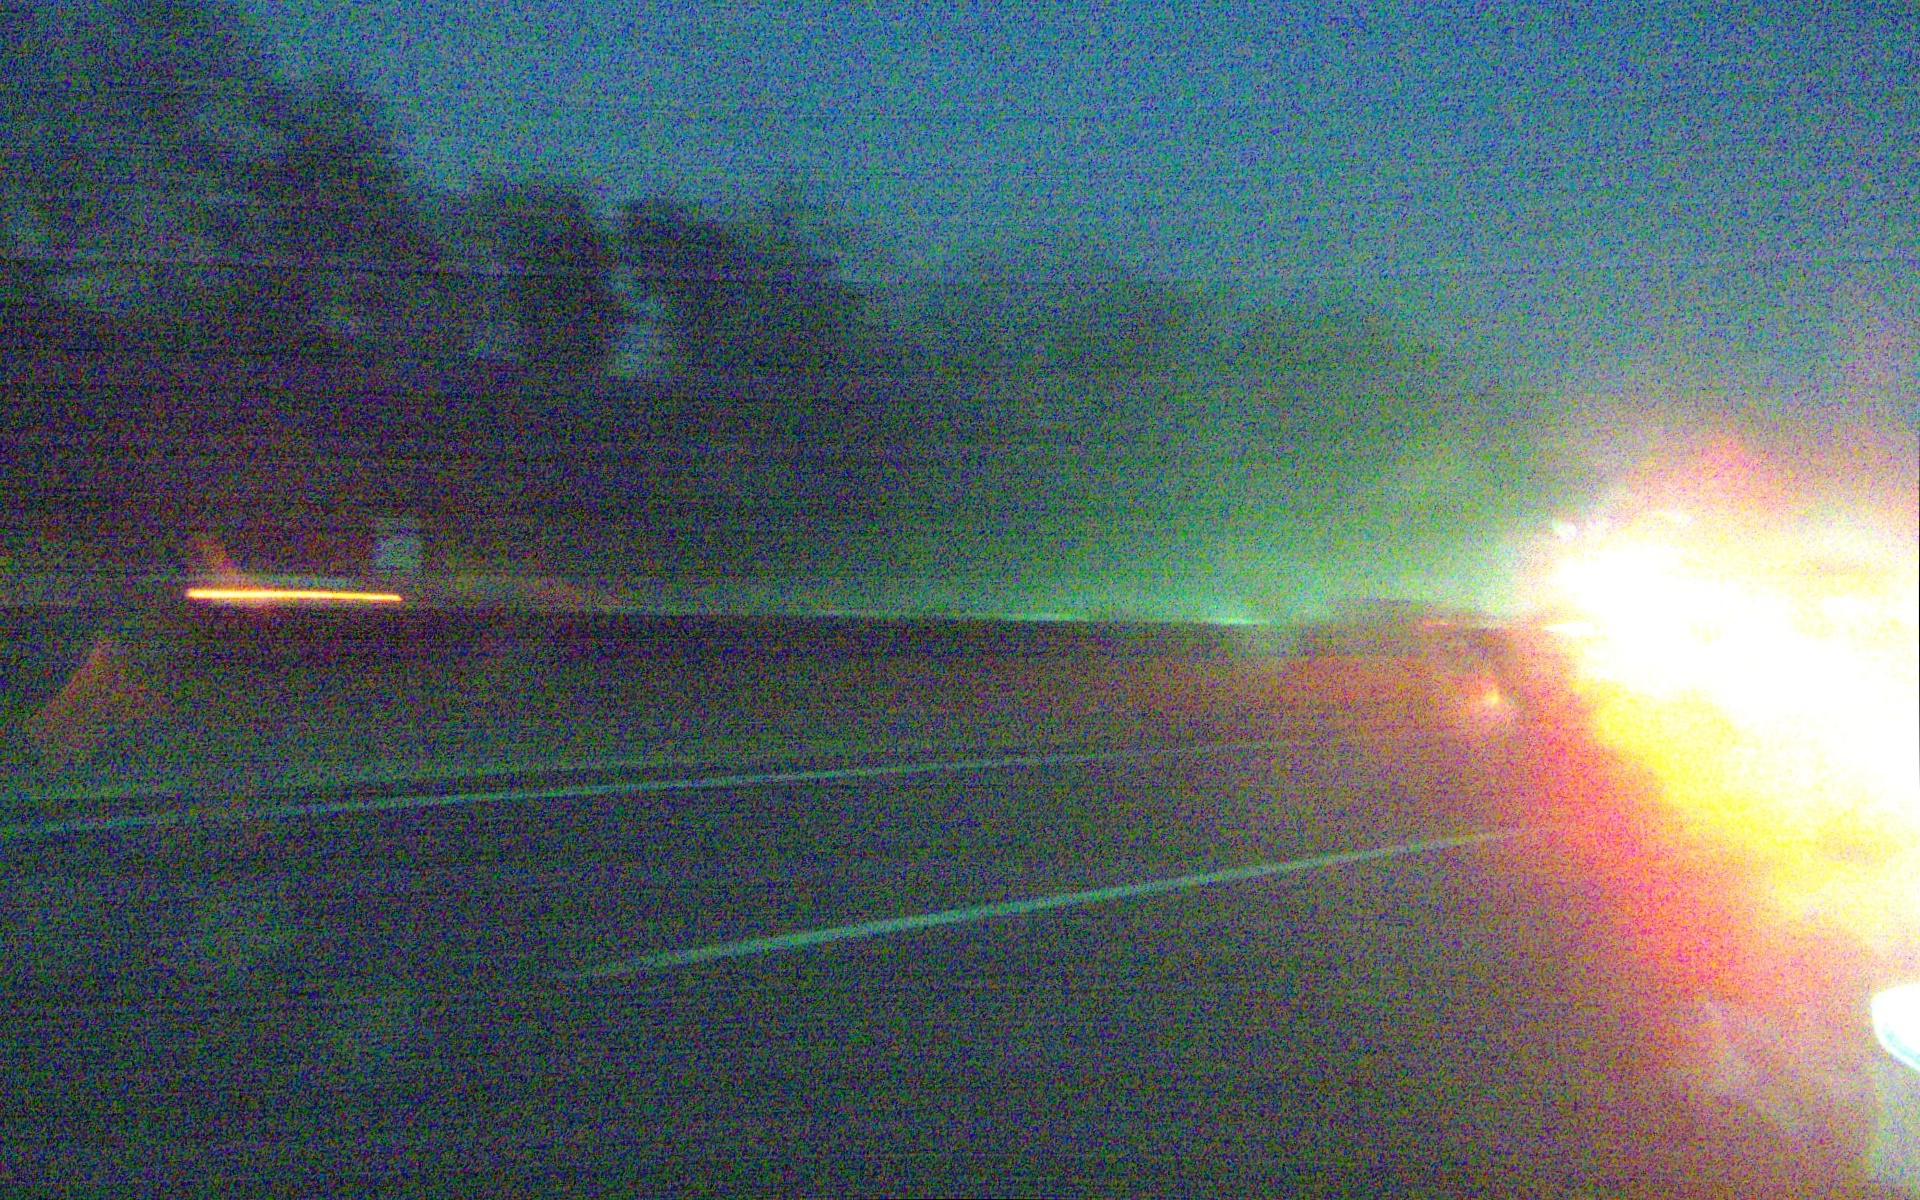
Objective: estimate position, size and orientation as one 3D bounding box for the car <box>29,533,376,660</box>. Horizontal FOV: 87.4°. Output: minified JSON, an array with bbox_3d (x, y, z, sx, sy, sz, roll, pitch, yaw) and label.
[{"bbox_3d":[-11.120,-0.023,15.158,3.954,1.684,1.824,2,1,-31],"label":"car"}]

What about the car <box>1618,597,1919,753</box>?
[{"bbox_3d":[11.360,0.944,13.672,4.827,1.801,1.985,2,0,-29],"label":"car"}]

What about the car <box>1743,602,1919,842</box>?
[{"bbox_3d":[8.281,0.897,7.874,4.183,1.616,1.907,2,0,-29],"label":"car"}]

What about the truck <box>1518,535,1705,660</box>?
[{"bbox_3d":[26.732,-0.025,41.272,5.774,4.685,4.150,2,0,-28],"label":"truck"}]

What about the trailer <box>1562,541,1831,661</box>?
[{"bbox_3d":[32.971,0.218,44.706,13.786,4.685,4.150,2,0,-29],"label":"trailer"}]
